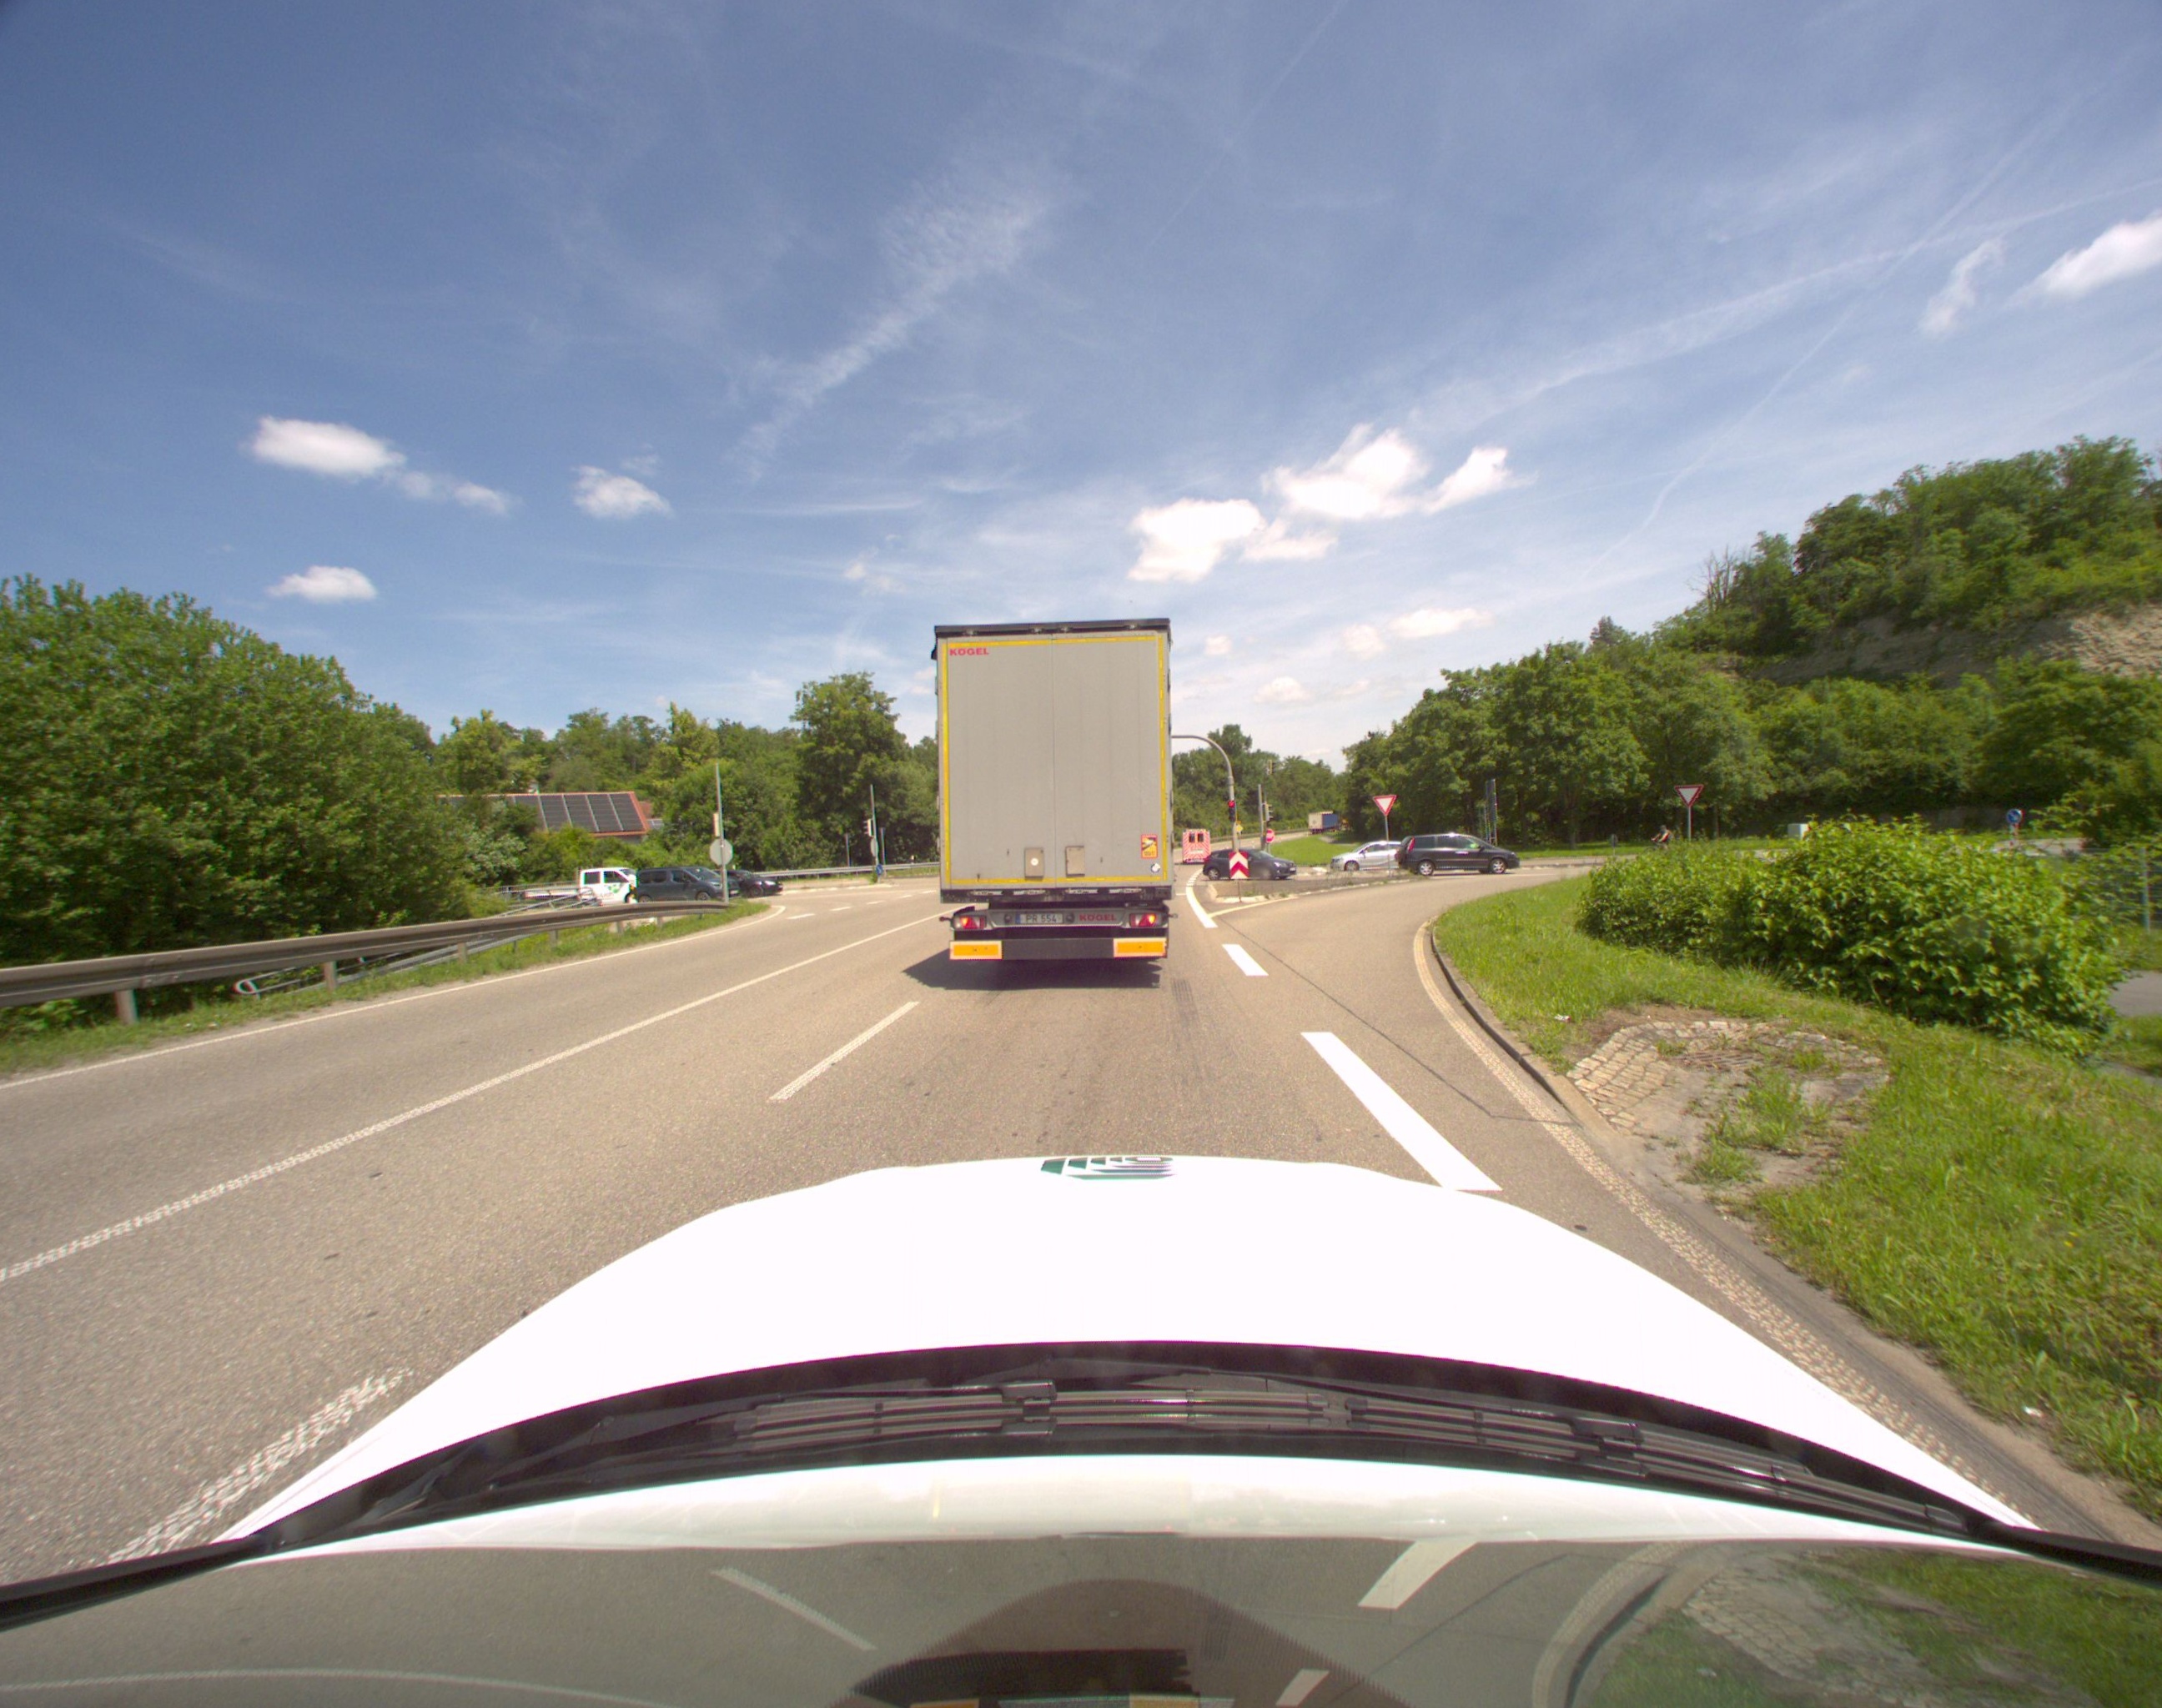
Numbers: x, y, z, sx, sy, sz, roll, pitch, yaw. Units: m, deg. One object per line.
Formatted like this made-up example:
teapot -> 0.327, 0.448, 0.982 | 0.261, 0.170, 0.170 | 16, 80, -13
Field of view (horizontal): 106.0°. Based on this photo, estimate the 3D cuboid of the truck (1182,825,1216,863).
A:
truck -> 9.406, -0.712, 64.753 | 2.479, 2.728, 6.044 | -1, -2, 8

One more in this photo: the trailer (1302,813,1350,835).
trailer -> 54.371, -6.599, 180.046 | 4.963, 4.362, 20.971 | -1, 1, 31

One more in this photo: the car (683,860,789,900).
car -> -16.487, 1.243, 39.026 | 4.206, 1.770, 2.006 | -2, -1, 11

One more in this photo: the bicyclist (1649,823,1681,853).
bicyclist -> 29.206, -0.800, 40.742 | 1.002, 1.448, 0.795 | -1, -2, -1

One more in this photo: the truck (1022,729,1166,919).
truck -> 0.512, -0.648, 20.986 | 3.024, 4.033, 6.636 | -2, 0, 4

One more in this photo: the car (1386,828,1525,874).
car -> 15.521, -0.089, 34.040 | 4.896, 1.785, 2.005 | -1, -2, 9

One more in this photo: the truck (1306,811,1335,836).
truck -> 46.218, -5.734, 156.951 | 3.149, 4.029, 11.814 | -1, -2, 28

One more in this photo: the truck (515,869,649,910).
truck -> -23.294, 1.630, 38.214 | 4.877, 1.791, 2.036 | 0, -2, -11

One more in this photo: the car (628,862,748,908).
car -> -16.805, 1.310, 34.898 | 4.206, 1.770, 2.006 | -2, -1, 11

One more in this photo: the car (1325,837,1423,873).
car -> 14.976, 0.092, 41.822 | 4.404, 1.718, 2.004 | -1, -2, 6

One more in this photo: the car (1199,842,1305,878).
car -> 7.639, 0.320, 36.623 | 4.203, 1.491, 2.012 | -2, -2, 41

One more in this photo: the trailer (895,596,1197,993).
trailer -> 0.067, -0.623, 14.737 | 3.038, 4.033, 12.572 | -2, 0, 4

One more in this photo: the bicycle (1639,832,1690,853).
bicycle -> 29.185, -0.558, 40.759 | 1.983, 0.995, 0.797 | -1, -2, -1
